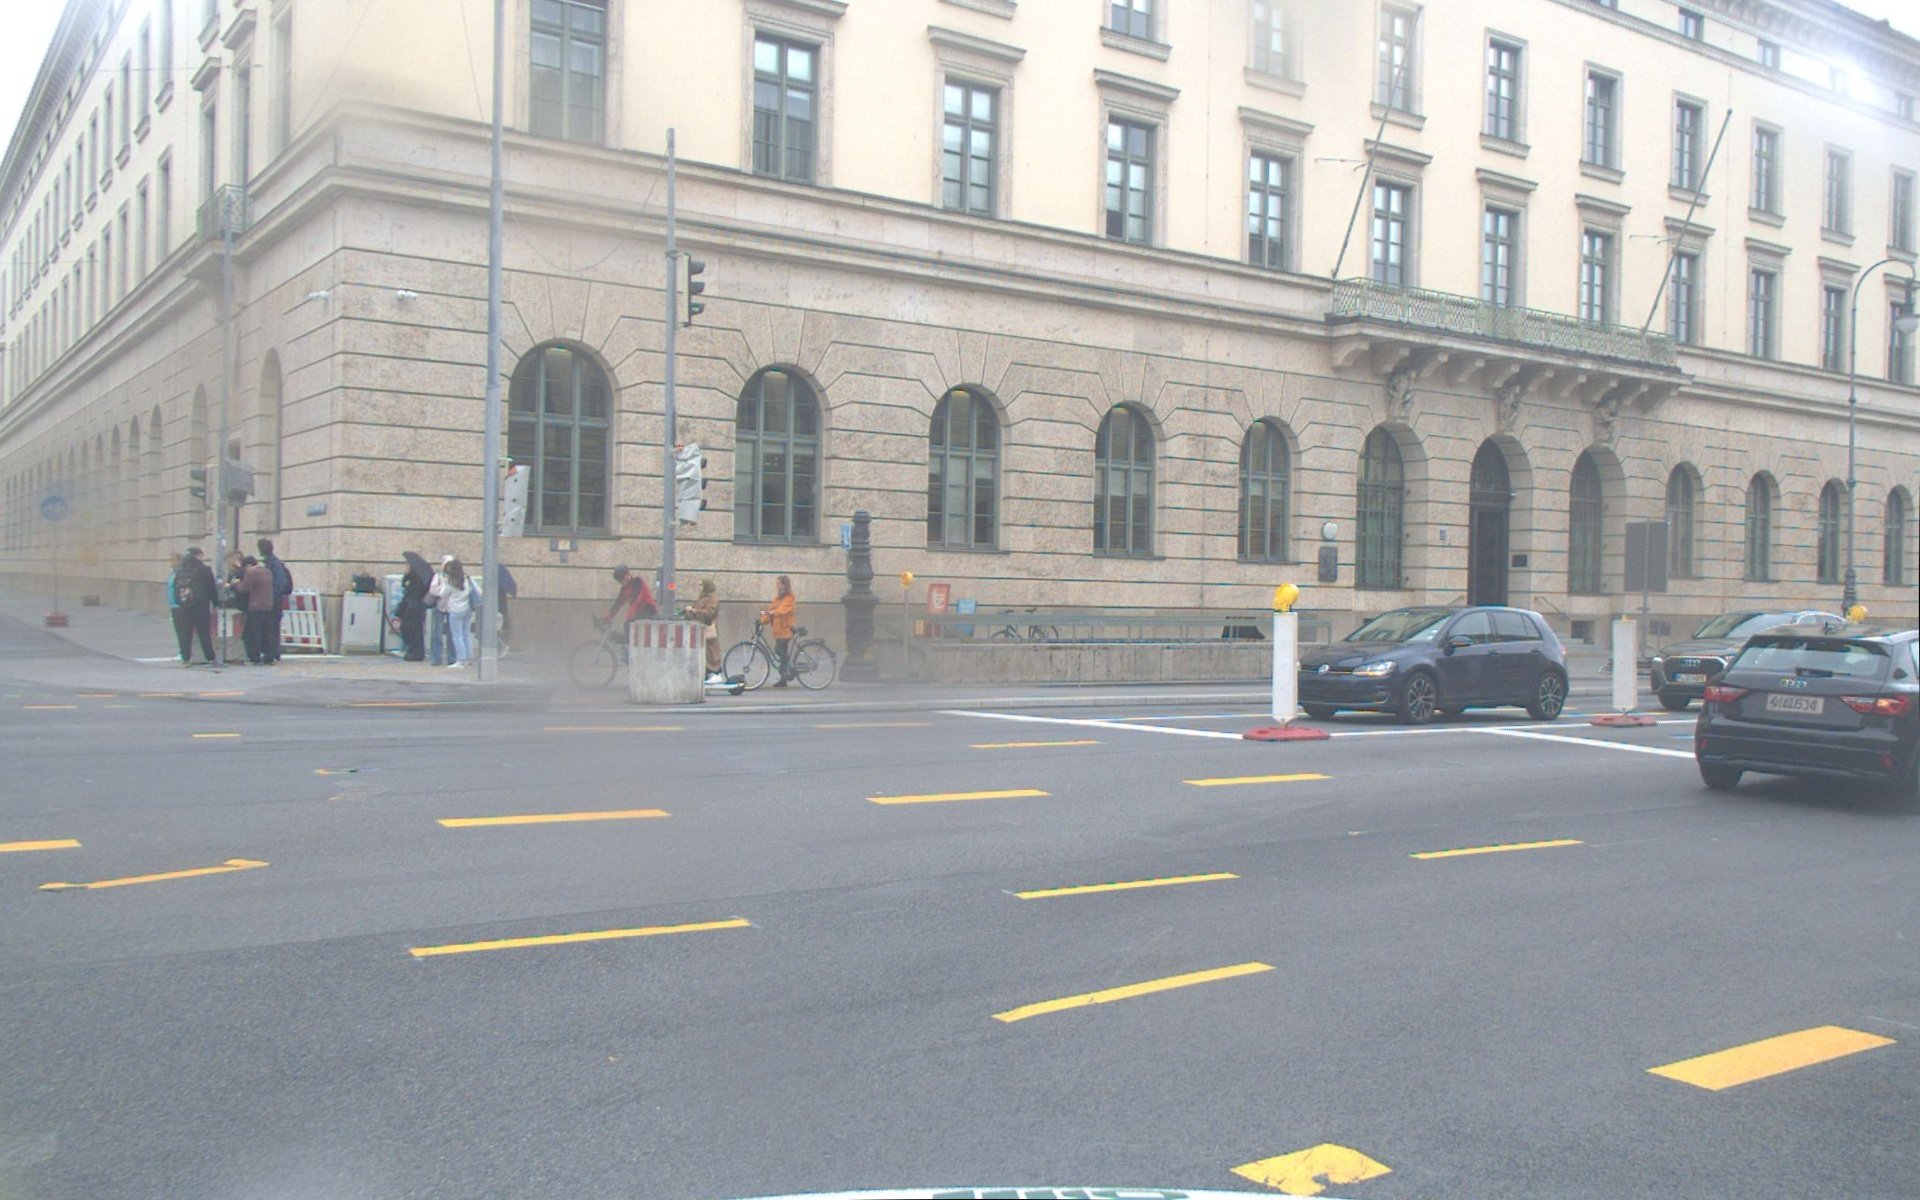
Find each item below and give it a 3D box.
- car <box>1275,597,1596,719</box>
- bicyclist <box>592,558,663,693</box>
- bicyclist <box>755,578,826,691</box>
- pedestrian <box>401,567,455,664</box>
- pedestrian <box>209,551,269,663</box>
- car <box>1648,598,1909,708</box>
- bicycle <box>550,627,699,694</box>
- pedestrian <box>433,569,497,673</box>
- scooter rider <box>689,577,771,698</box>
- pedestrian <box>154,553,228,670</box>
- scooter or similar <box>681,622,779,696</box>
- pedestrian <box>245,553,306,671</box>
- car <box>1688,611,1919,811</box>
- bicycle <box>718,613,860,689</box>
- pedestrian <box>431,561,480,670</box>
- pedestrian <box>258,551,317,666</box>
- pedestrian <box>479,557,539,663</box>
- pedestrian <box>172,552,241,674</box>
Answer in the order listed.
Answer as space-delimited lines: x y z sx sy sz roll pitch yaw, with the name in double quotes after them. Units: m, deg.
6.130 0.736 21.140 4.191 1.413 1.728 2 -1 -36 "car"
-4.723 0.361 23.484 0.736 1.874 0.653 2 0 -32 "bicyclist"
-2.532 0.504 24.726 0.736 1.643 0.786 2 0 -32 "bicyclist"
-8.758 0.246 27.214 0.657 1.554 0.812 2 0 -28 "pedestrian"
-11.764 0.107 27.012 0.805 1.786 0.582 2 0 -21 "pedestrian"
12.864 0.805 25.910 4.524 1.594 1.769 1 -2 -36 "car"
-4.749 0.860 23.478 1.953 0.895 0.654 2 0 -33 "bicycle"
-7.725 0.322 25.800 0.807 1.584 0.661 2 0 -27 "pedestrian"
-3.203 0.523 23.039 0.924 1.651 0.586 2 0 -34 "scooter rider"
-12.130 0.182 26.104 0.572 1.786 0.819 2 0 25 "pedestrian"
-3.206 0.829 23.043 1.200 0.982 0.581 2 0 -34 "scooter or similar"
-10.630 0.183 25.693 0.572 1.786 0.819 2 0 -4 "pedestrian"
7.985 0.852 14.273 1.838 1.412 3.972 3 2 44 "car"
-2.545 0.765 24.717 1.939 1.058 0.786 2 0 -33 "bicycle"
-8.055 0.247 26.392 0.608 1.701 0.537 2 0 -27 "pedestrian"
-10.765 0.129 26.492 0.572 1.786 0.819 2 0 -4 "pedestrian"
-7.559 0.165 27.732 0.709 1.723 0.810 2 0 -33 "pedestrian"
-11.321 0.193 24.874 0.805 1.786 0.676 2 0 -19 "pedestrian"
